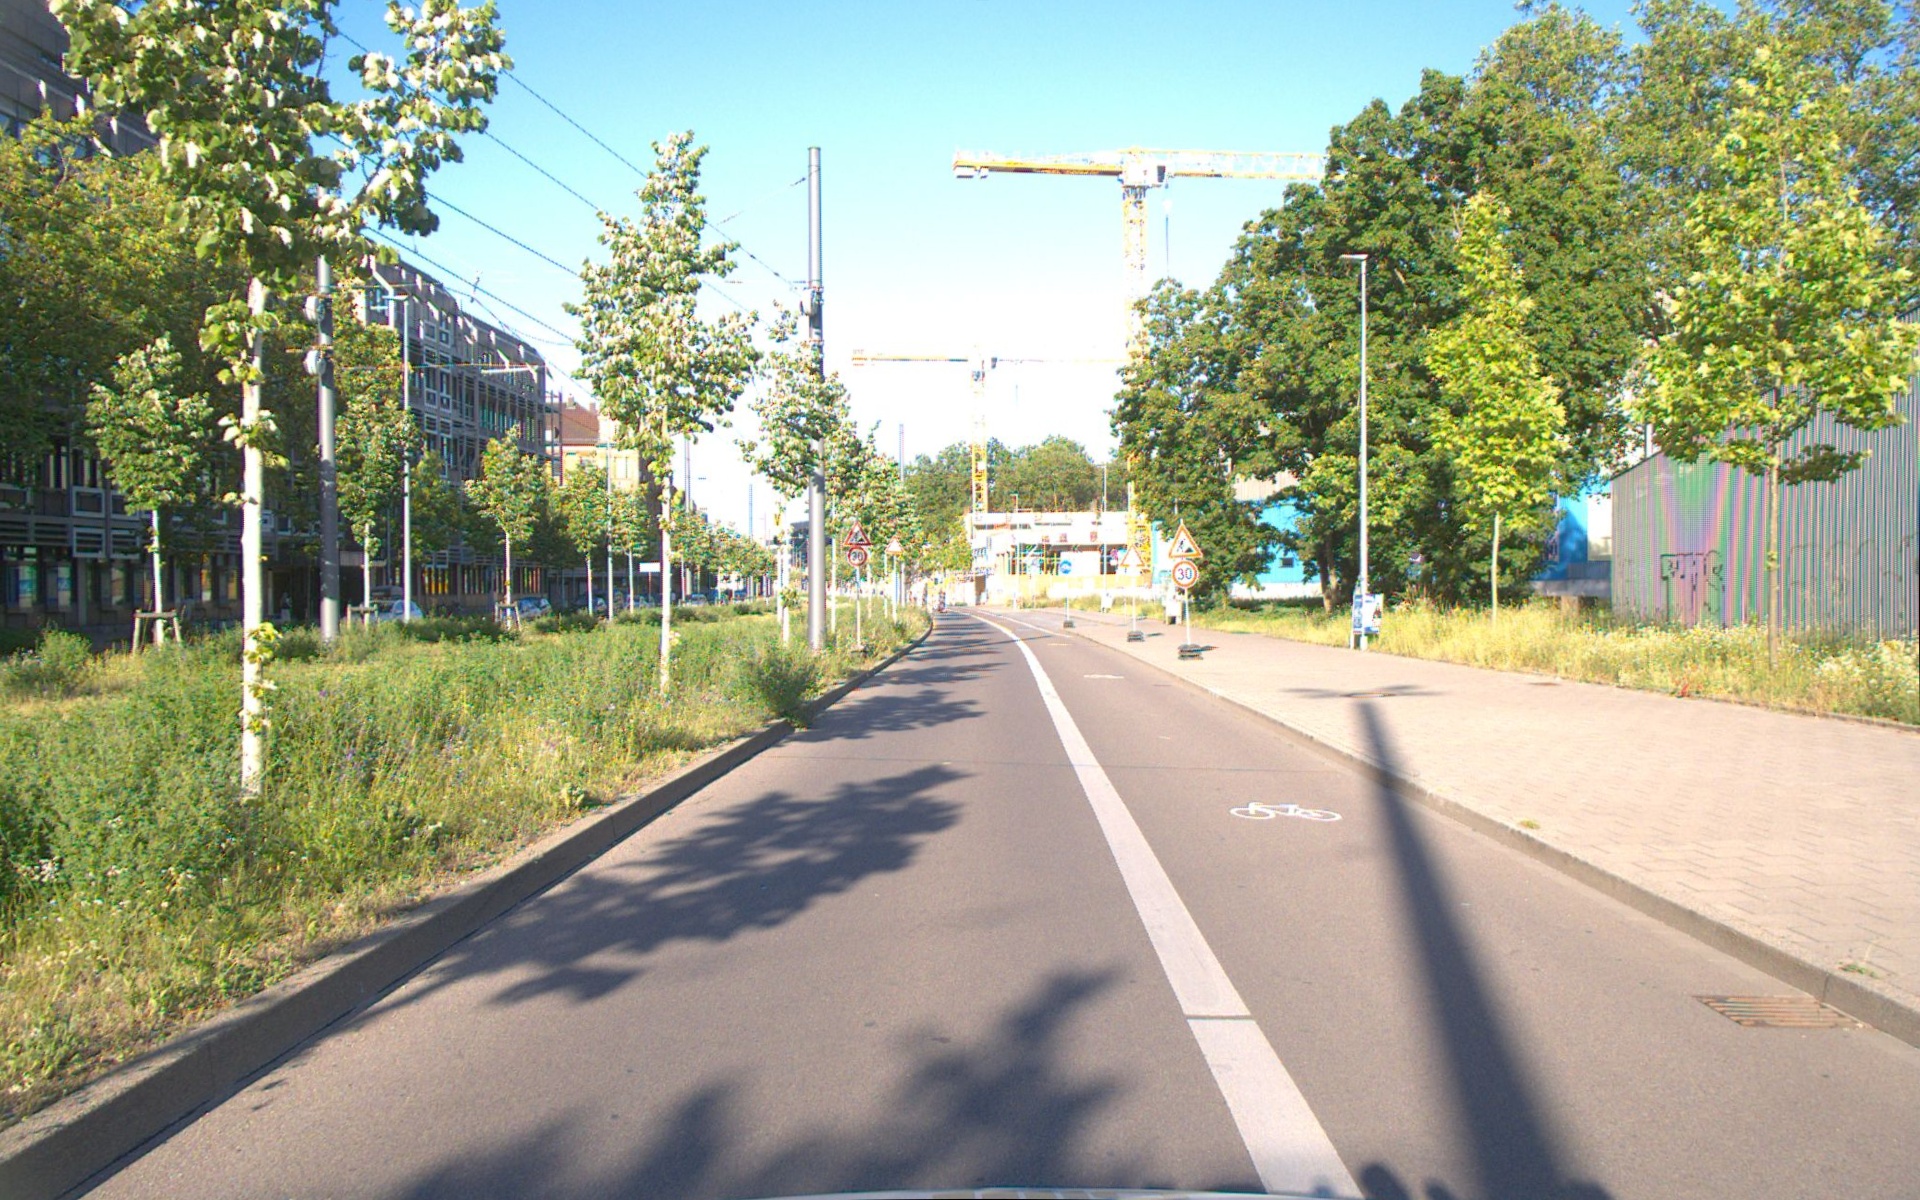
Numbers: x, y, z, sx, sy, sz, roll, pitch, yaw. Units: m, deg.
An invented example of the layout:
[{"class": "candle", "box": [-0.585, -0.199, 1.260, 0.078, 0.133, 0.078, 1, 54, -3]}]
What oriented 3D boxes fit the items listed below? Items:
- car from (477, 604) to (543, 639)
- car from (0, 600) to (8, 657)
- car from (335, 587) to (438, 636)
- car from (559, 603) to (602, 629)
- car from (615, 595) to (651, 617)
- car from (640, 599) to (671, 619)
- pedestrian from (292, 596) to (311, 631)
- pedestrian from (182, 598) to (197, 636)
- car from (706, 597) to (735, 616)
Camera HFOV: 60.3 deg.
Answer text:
[{"class": "car", "box": [-21.192, 1.002, 78.080, 1.722, 1.542, 4.584, -1, 0, 2]}, {"class": "car", "box": [-28.522, 0.840, 45.710, 1.822, 1.624, 4.278, -1, 0, 2]}, {"class": "car", "box": [-20.082, 0.386, 58.092, 1.802, 1.622, 4.694, -1, 0, 2]}, {"class": "car", "box": [-24.965, 1.039, 108.871, 1.865, 1.603, 4.300, -1, 0, -1]}, {"class": "car", "box": [-24.700, 0.424, 125.163, 1.865, 1.603, 4.300, -1, 0, -1]}, {"class": "car", "box": [-25.526, 0.711, 138.689, 1.865, 1.603, 4.300, -1, 0, -1]}, {"class": "pedestrian", "box": [-29.537, 0.596, 74.186, 0.651, 1.559, 0.648, -1, 0, -8]}, {"class": "pedestrian", "box": [-32.112, 0.710, 68.932, 0.400, 1.589, 0.447, -1, 0, 2]}, {"class": "car", "box": [-21.113, 0.557, 145.846, 1.865, 1.603, 4.410, -1, 0, -1]}]
